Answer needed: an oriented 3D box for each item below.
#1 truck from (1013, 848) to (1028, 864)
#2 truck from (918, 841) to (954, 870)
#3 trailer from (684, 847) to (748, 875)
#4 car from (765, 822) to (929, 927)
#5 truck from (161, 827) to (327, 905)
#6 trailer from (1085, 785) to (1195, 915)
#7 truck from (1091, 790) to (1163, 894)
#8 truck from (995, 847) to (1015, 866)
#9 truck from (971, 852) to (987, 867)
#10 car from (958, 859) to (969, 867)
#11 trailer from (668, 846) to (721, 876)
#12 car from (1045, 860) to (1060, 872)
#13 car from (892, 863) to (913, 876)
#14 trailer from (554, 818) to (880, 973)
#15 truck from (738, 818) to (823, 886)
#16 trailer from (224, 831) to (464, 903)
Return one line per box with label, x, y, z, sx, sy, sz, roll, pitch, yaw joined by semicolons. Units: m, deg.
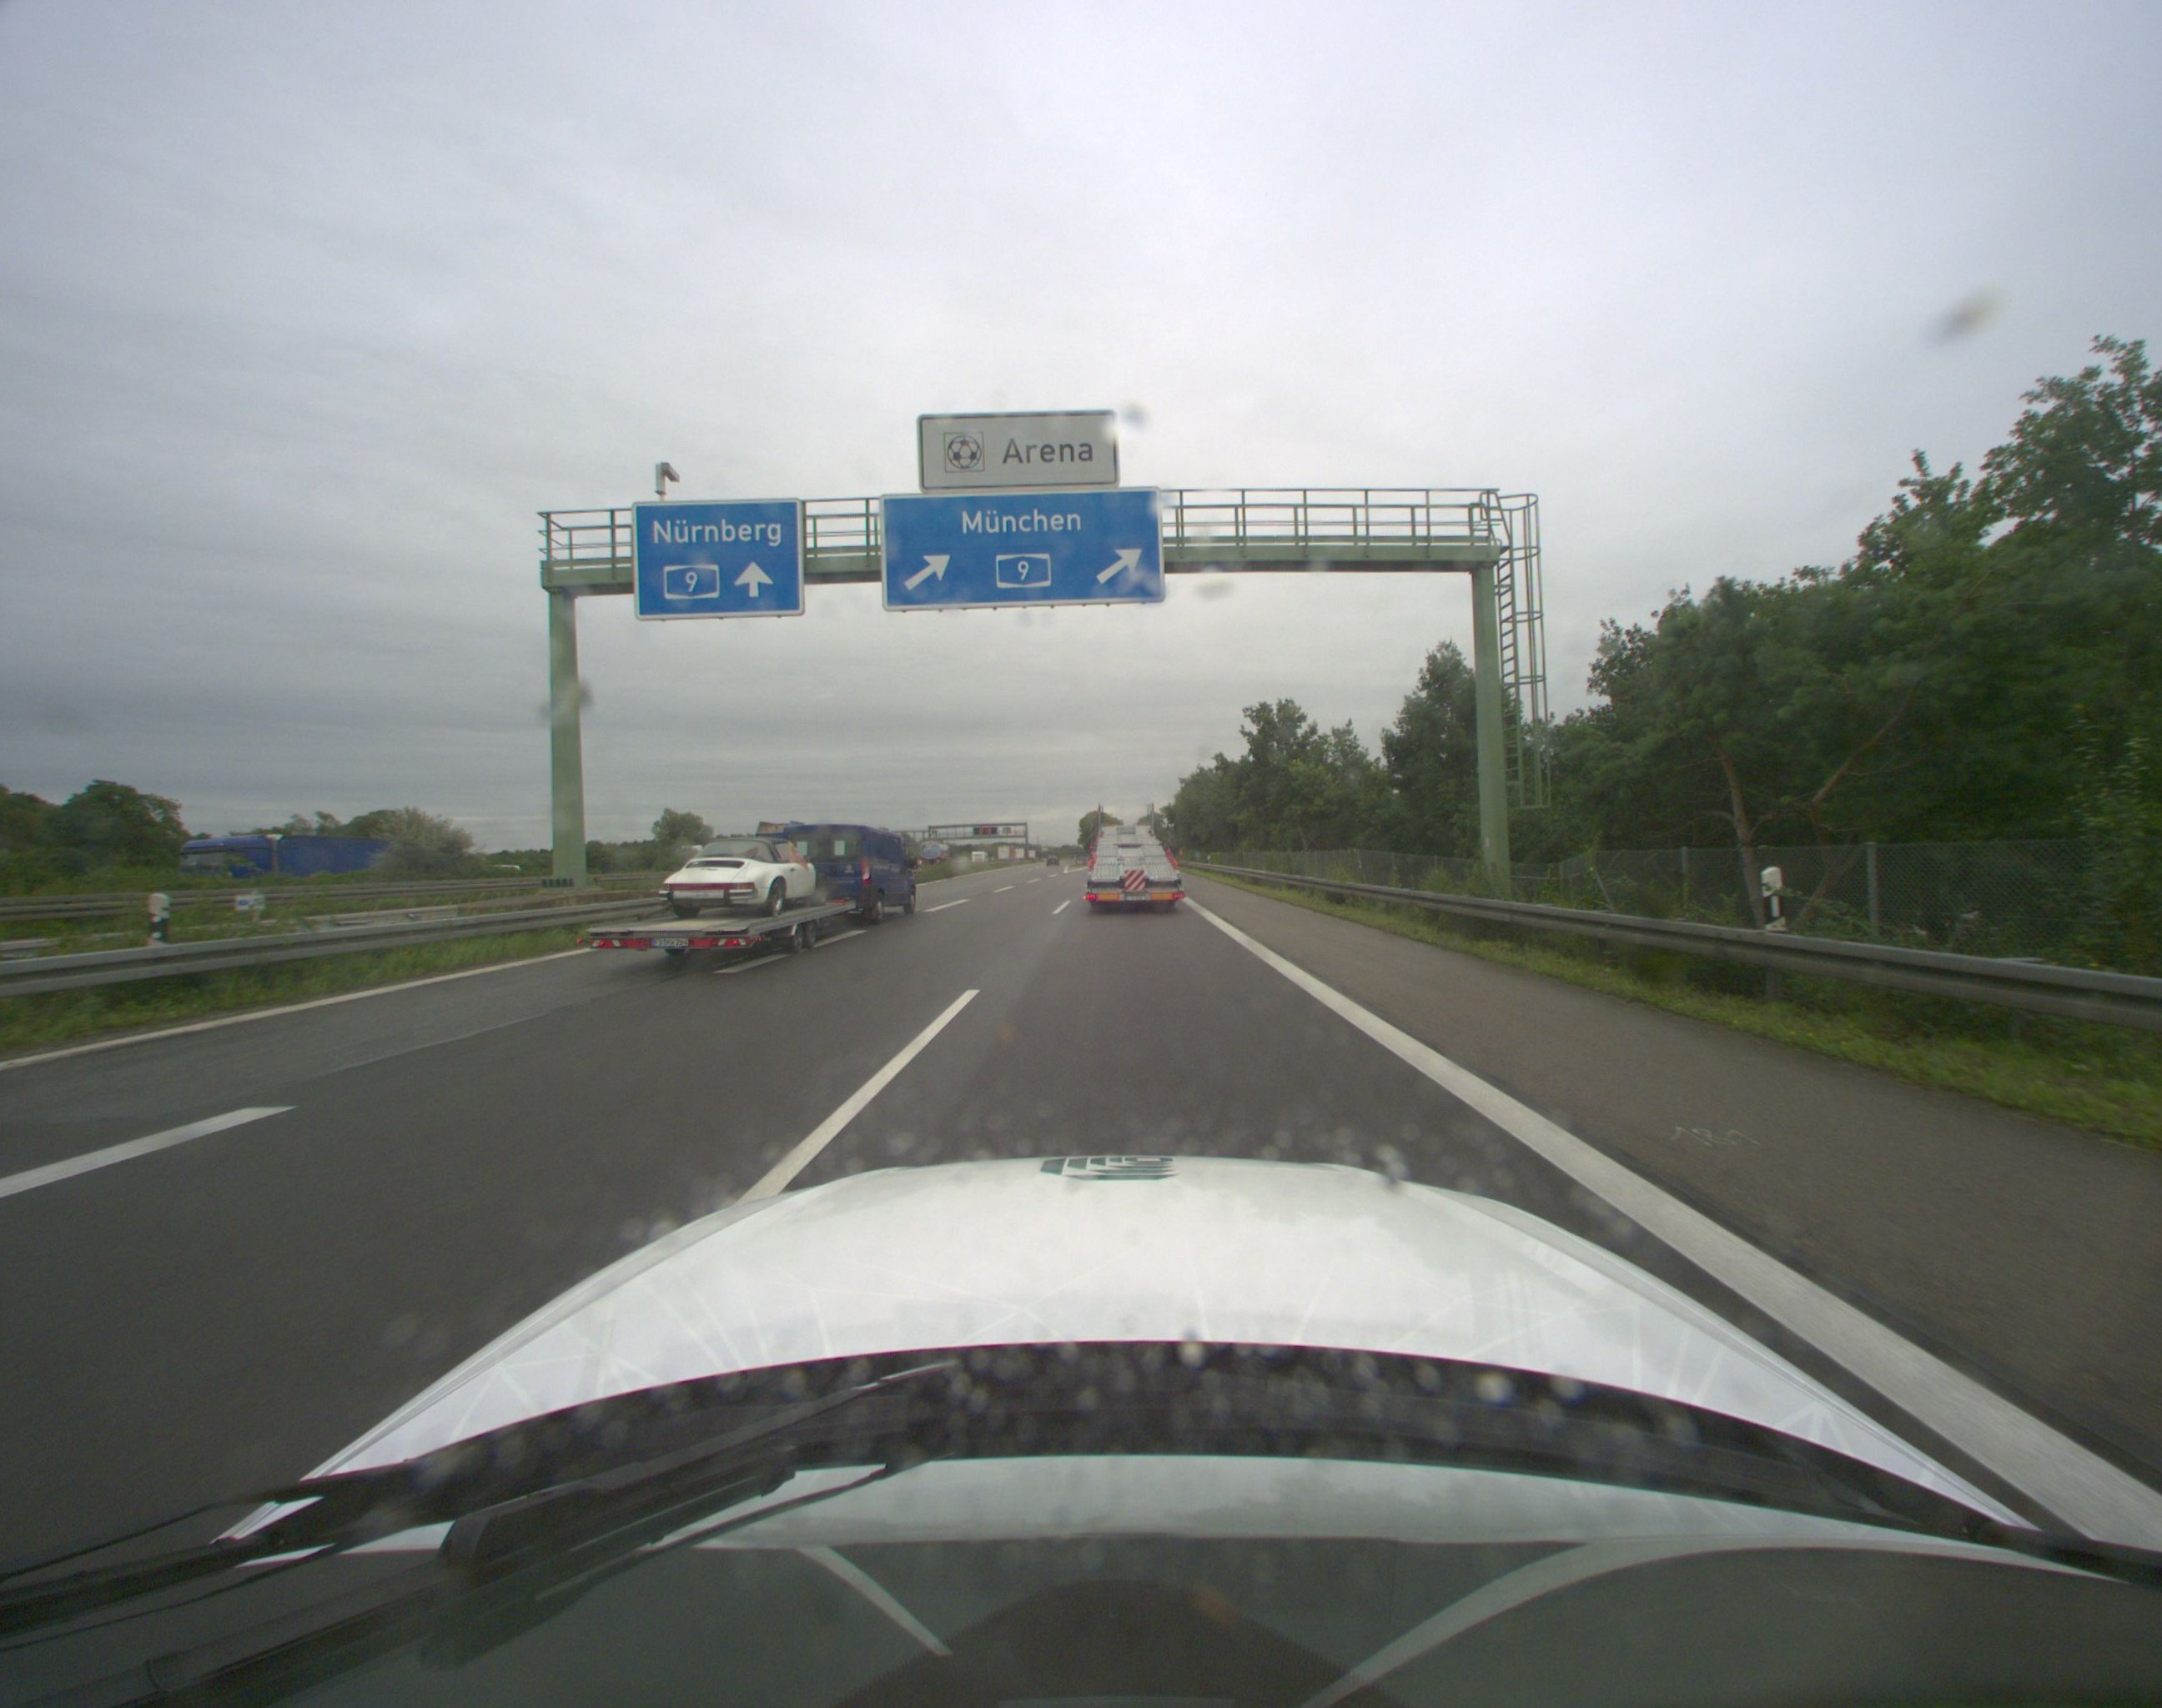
truck;-17.579;0.592;237.555;3.721;4.417;11.894;0;0;0
truck;-17.792;0.156;100.587;2.848;3.365;8.629;-1;0;0
trailer;-46.057;0.847;103.302;2.951;3.403;11.796;-1;0;-2
car;-5.627;0.451;20.697;2.365;2.266;6.255;0;0;0
truck;-45.508;0.630;44.549;2.950;3.925;5.896;-1;0;-1
trailer;1.628;-0.098;25.955;2.767;3.285;10.409;0;0;1
truck;1.867;-0.460;35.748;2.729;3.967;9.131;0;0;1
truck;-17.666;0.532;190.789;3.721;4.417;10.193;0;0;0
truck;-18.006;0.945;144.209;2.236;2.704;5.278;0;0;0
car;-22.049;1.642;153.020;1.678;1.530;3.996;0;0;-2
trailer;-45.891;0.785;97.043;2.951;3.403;7.267;-1;0;-2
car;-4.136;1.736;117.740;1.955;1.637;5.624;0;-1;0
car;-22.126;1.865;100.902;1.789;1.557;3.825;0;-1;0
trailer;-5.582;0.544;14.083;2.477;1.994;7.061;0;0;0
truck;-17.876;-0.078;49.028;2.631;3.812;7.337;0;-1;-2
trailer;-45.567;0.715;51.456;2.950;3.925;13.523;-1;0;0
